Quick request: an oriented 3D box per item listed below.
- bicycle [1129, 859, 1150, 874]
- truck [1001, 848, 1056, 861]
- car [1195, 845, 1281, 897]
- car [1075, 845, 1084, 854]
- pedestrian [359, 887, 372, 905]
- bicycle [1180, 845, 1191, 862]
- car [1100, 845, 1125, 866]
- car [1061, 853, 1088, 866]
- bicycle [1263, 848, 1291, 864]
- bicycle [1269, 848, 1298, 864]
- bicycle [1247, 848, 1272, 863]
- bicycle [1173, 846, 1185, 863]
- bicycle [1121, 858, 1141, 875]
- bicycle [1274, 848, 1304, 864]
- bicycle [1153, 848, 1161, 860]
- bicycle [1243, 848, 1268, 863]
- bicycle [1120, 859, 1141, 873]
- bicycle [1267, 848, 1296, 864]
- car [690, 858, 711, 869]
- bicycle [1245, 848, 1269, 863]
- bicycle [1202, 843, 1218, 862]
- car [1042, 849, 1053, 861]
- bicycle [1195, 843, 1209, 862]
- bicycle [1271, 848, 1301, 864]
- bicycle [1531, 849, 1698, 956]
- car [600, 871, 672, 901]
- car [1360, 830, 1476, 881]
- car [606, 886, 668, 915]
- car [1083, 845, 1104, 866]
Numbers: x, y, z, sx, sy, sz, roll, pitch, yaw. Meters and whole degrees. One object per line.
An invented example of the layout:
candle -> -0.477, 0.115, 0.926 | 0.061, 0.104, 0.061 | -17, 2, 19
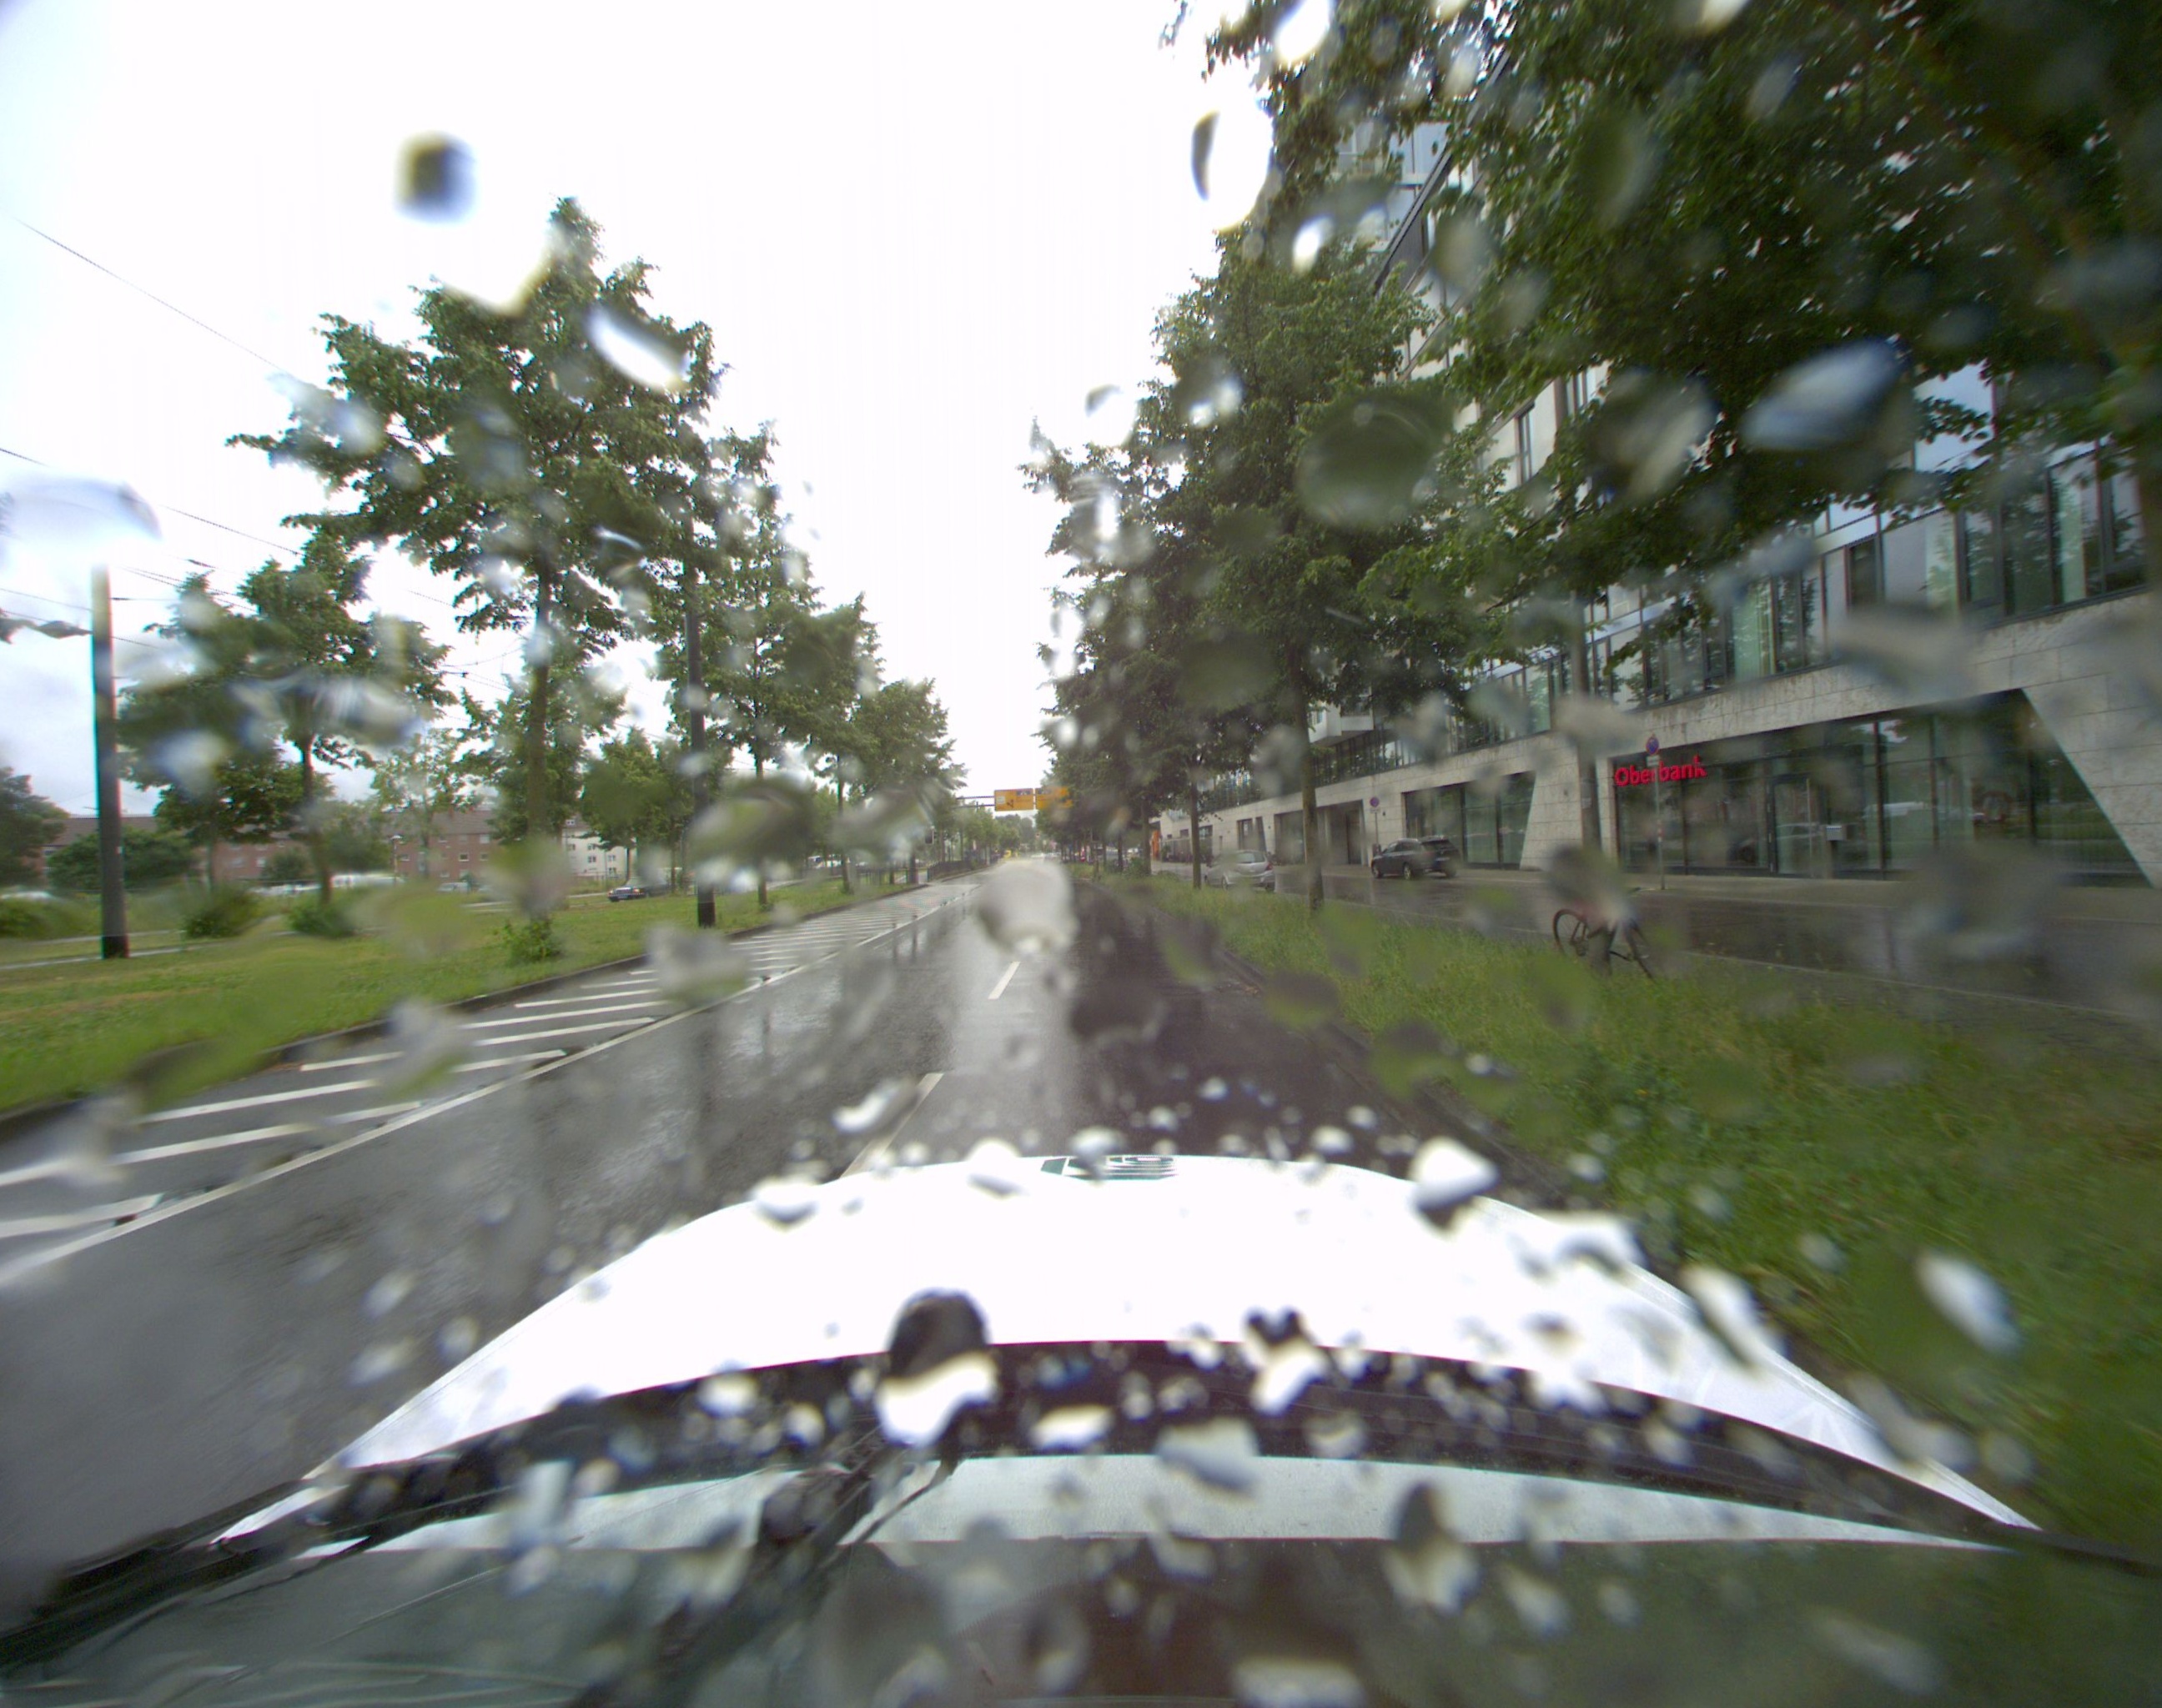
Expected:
bicycle -> 3.708, 0.794, 51.996 | 1.281, 0.874, 0.301 | -3, 0, 7
truck -> -14.398, 0.037, 224.069 | 14.860, 3.147, 3.510 | -2, 0, -10
car -> 5.430, 0.525, 28.799 | 1.877, 1.505, 4.719 | -2, 2, -3
car -> -0.430, -1.176, 199.766 | 1.988, 2.013, 3.998 | -2, 2, -2
pedestrian -> -72.757, 4.266, 82.785 | 0.677, 1.671, 0.694 | -3, 2, -12
bicycle -> 11.373, -0.070, 88.712 | 0.643, 1.722, 3.117 | -2, 2, -4
car -> 2.953, 0.146, 77.336 | 1.902, 1.791, 4.682 | -2, 0, -3
car -> -0.920, 0.742, 112.520 | 1.829, 1.545, 3.956 | -4, 3, -36
bicycle -> 13.759, 0.152, 57.233 | 1.801, 1.028, 0.541 | -2, -1, -1
bicycle -> 13.743, 0.150, 55.221 | 1.801, 1.028, 0.541 | -2, -1, -1
bicycle -> 13.179, 0.132, 60.211 | 1.745, 1.028, 0.412 | -2, -1, -1
bicycle -> 10.636, 0.057, 88.577 | 0.643, 1.722, 3.117 | -2, 2, -4
bicycle -> 3.333, 0.816, 54.771 | 1.282, 1.074, 0.275 | -3, 0, 4
bicycle -> 13.764, 0.140, 53.911 | 1.801, 1.028, 0.401 | -2, -1, -1
bicycle -> 10.395, 0.011, 111.062 | 0.665, 1.534, 2.761 | -2, 2, -3
bicycle -> 13.104, 0.135, 61.194 | 1.689, 1.028, 0.423 | -2, -1, -1
bicycle -> 3.276, 0.785, 53.888 | 1.284, 0.849, 0.275 | -3, 0, 1
bicycle -> 13.748, 0.148, 55.827 | 1.801, 1.028, 0.541 | -2, -1, -1
car -> -72.995, 1.829, 156.233 | 3.551, 1.738, 1.691 | -4, 2, -27
bicycle -> 13.118, 0.126, 60.665 | 1.689, 1.028, 0.423 | -2, -1, -1
bicycle -> 12.417, -0.169, 78.618 | 0.770, 1.722, 3.117 | -2, 2, -4
car -> -6.262, 0.157, 151.189 | 1.936, 2.013, 3.997 | -2, 2, -3
bicycle -> 11.646, -0.130, 78.435 | 0.643, 1.722, 3.117 | -2, 2, -4
bicycle -> 13.755, 0.132, 54.611 | 1.801, 1.028, 0.541 | -2, -1, -1
bicycle -> 5.009, 0.400, 7.791 | 0.341, 0.822, 1.902 | -2, 2, 0
car -> -23.873, 1.668, 43.925 | 1.546, 1.266, 4.843 | -3, 1, -5
car -> 12.355, -0.009, 30.296 | 1.988, 1.501, 5.031 | -7, 1, -1
car -> -23.857, 2.456, 43.931 | 1.489, 1.298, 4.956 | -3, -1, -12
car -> 1.469, 0.155, 95.920 | 2.117, 2.274, 4.559 | -2, 0, -3
